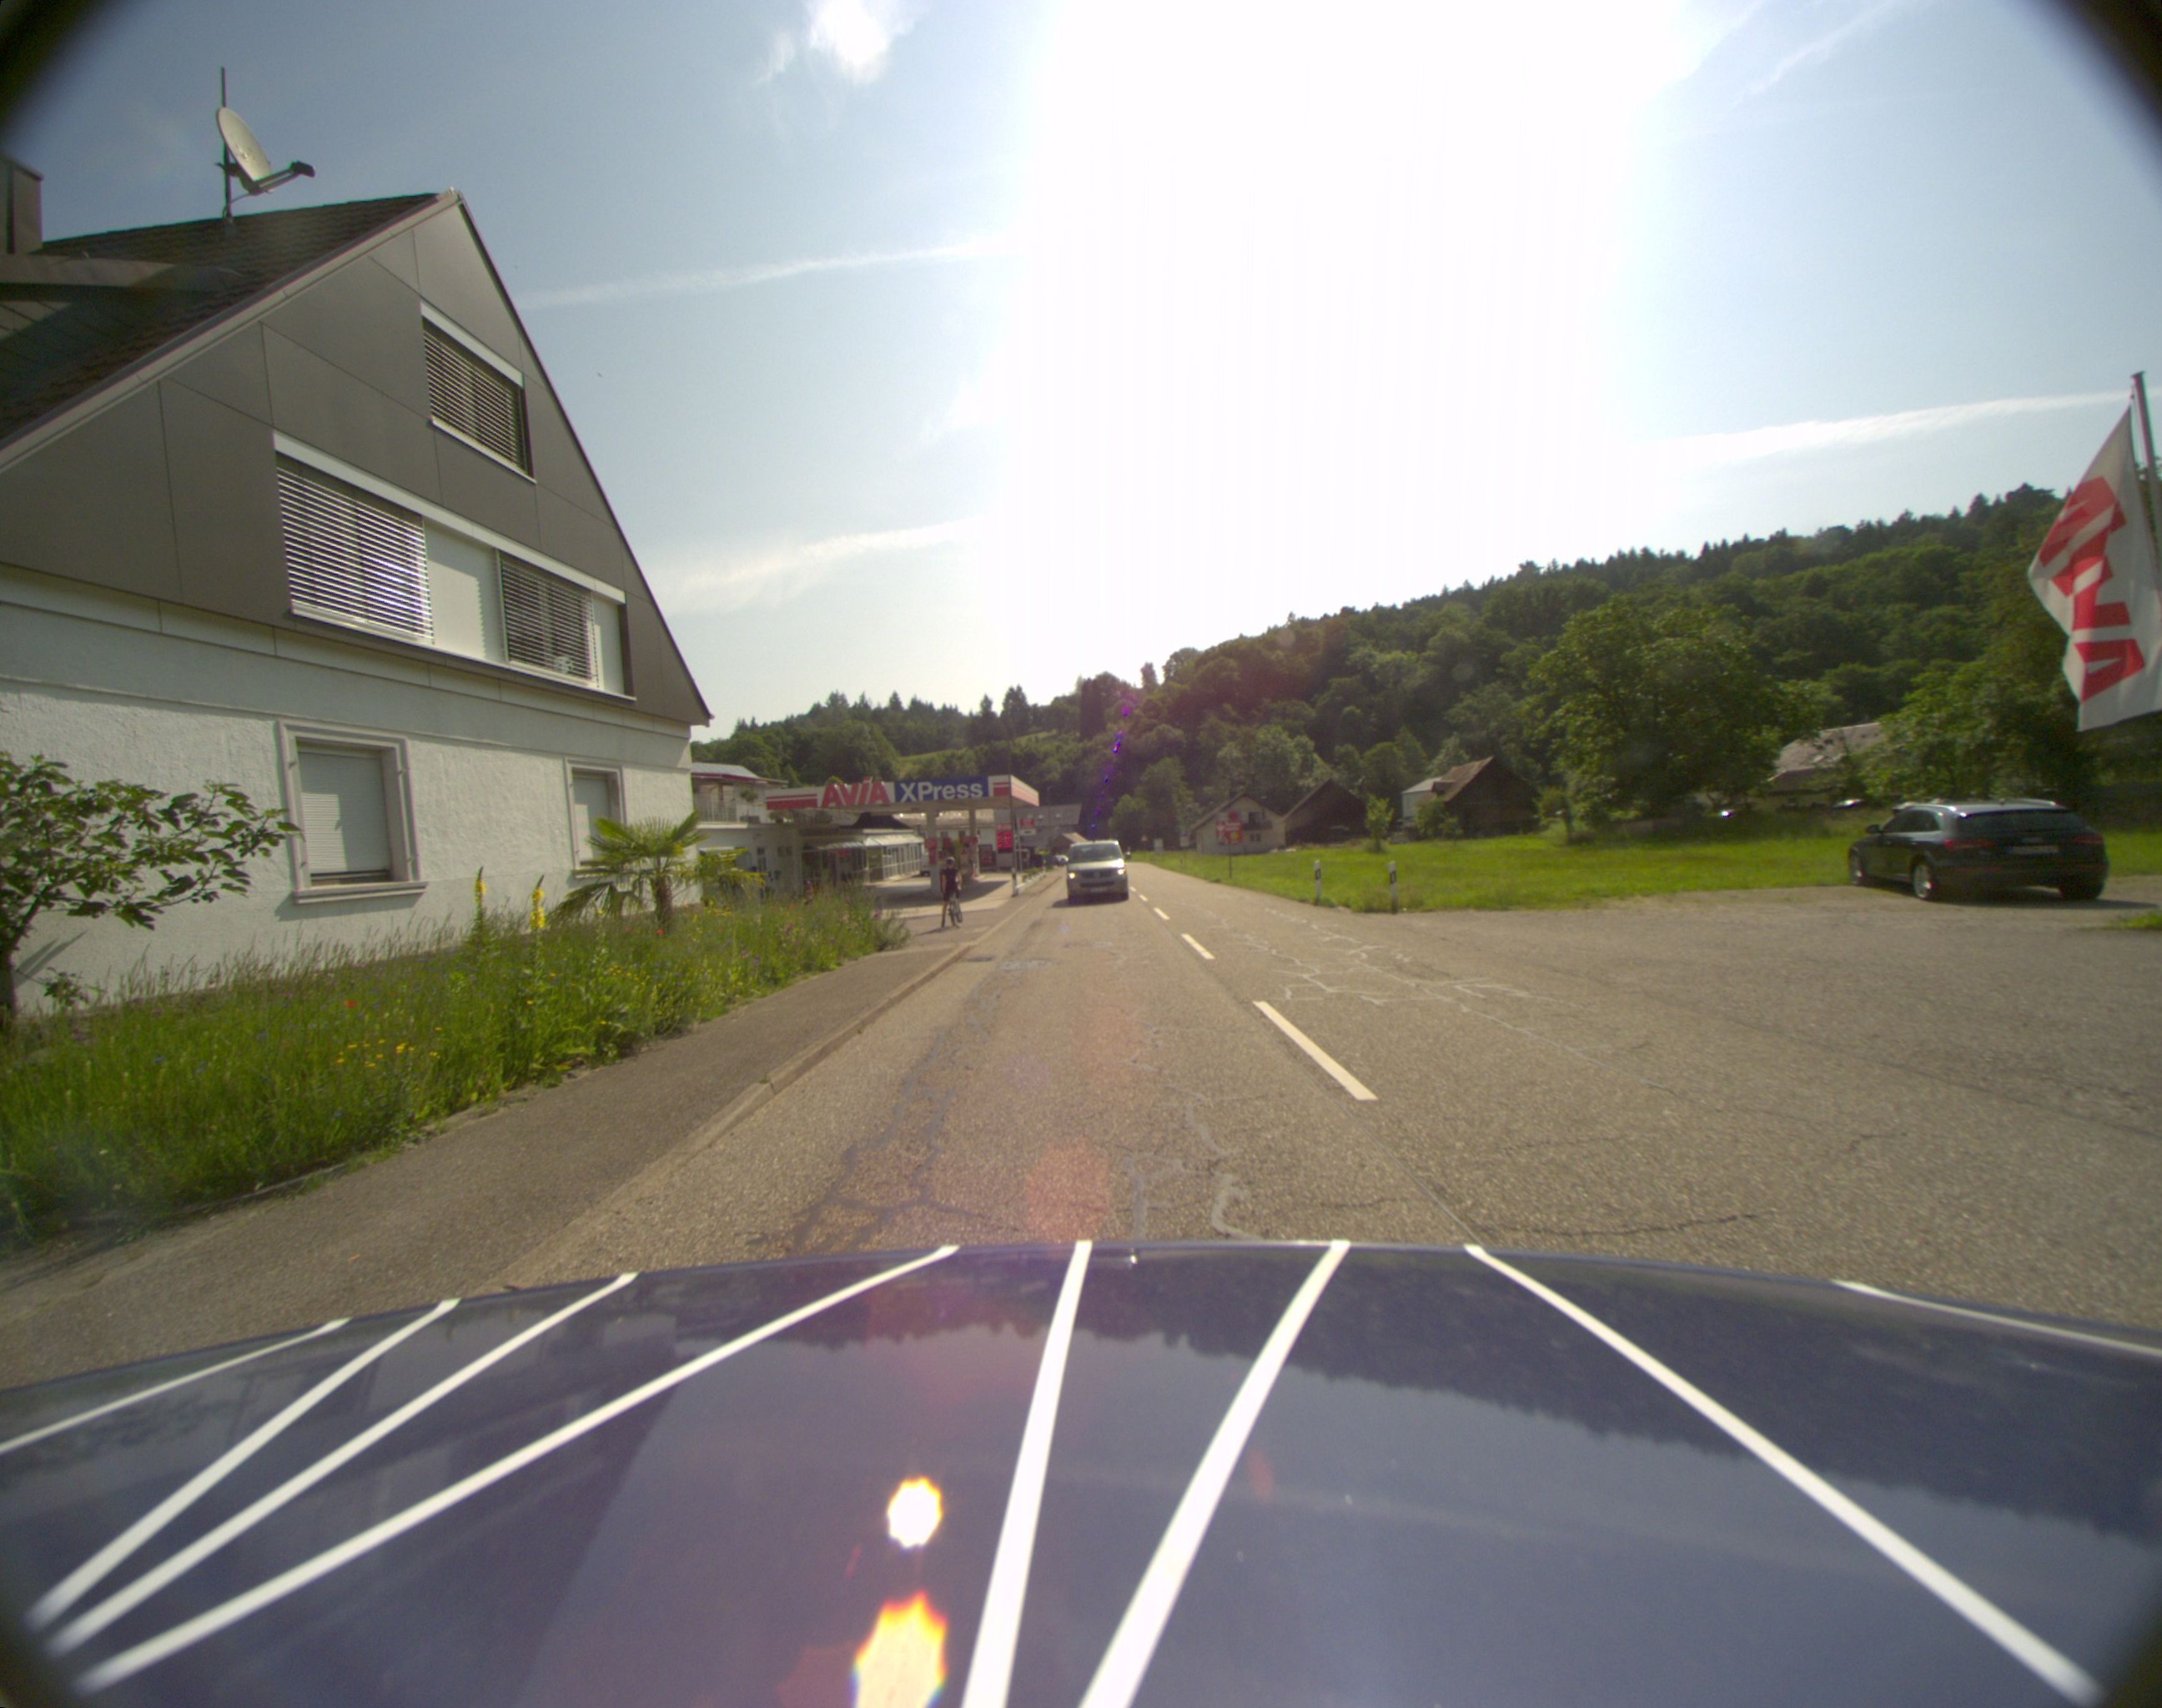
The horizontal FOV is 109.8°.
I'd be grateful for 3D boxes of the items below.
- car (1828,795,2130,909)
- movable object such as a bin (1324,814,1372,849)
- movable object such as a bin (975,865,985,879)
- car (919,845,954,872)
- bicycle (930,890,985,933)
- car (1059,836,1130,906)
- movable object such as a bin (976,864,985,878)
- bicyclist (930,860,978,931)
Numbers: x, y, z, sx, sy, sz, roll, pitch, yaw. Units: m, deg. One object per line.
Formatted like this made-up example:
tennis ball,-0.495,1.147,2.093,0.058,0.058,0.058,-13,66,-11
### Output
car,15.731,-0.071,13.745,1.832,1.639,4.916,-4,0,29
movable object such as a bin,26.598,-2.260,75.929,4.185,3.119,2.205,-4,1,15
movable object such as a bin,-6.303,1.101,47.478,0.481,0.840,0.496,-4,1,-1
car,-11.027,0.338,58.148,1.684,1.805,3.999,-5,2,0
bicycle,-3.030,1.393,18.439,0.691,0.912,1.946,-6,-1,-27
car,0.394,0.491,24.906,2.024,1.970,5.048,-2,0,0
movable object such as a bin,-6.344,1.088,48.073,0.481,0.840,0.528,-4,1,-1
bicyclist,-3.109,1.015,18.517,0.691,1.623,1.139,-6,-1,-27
